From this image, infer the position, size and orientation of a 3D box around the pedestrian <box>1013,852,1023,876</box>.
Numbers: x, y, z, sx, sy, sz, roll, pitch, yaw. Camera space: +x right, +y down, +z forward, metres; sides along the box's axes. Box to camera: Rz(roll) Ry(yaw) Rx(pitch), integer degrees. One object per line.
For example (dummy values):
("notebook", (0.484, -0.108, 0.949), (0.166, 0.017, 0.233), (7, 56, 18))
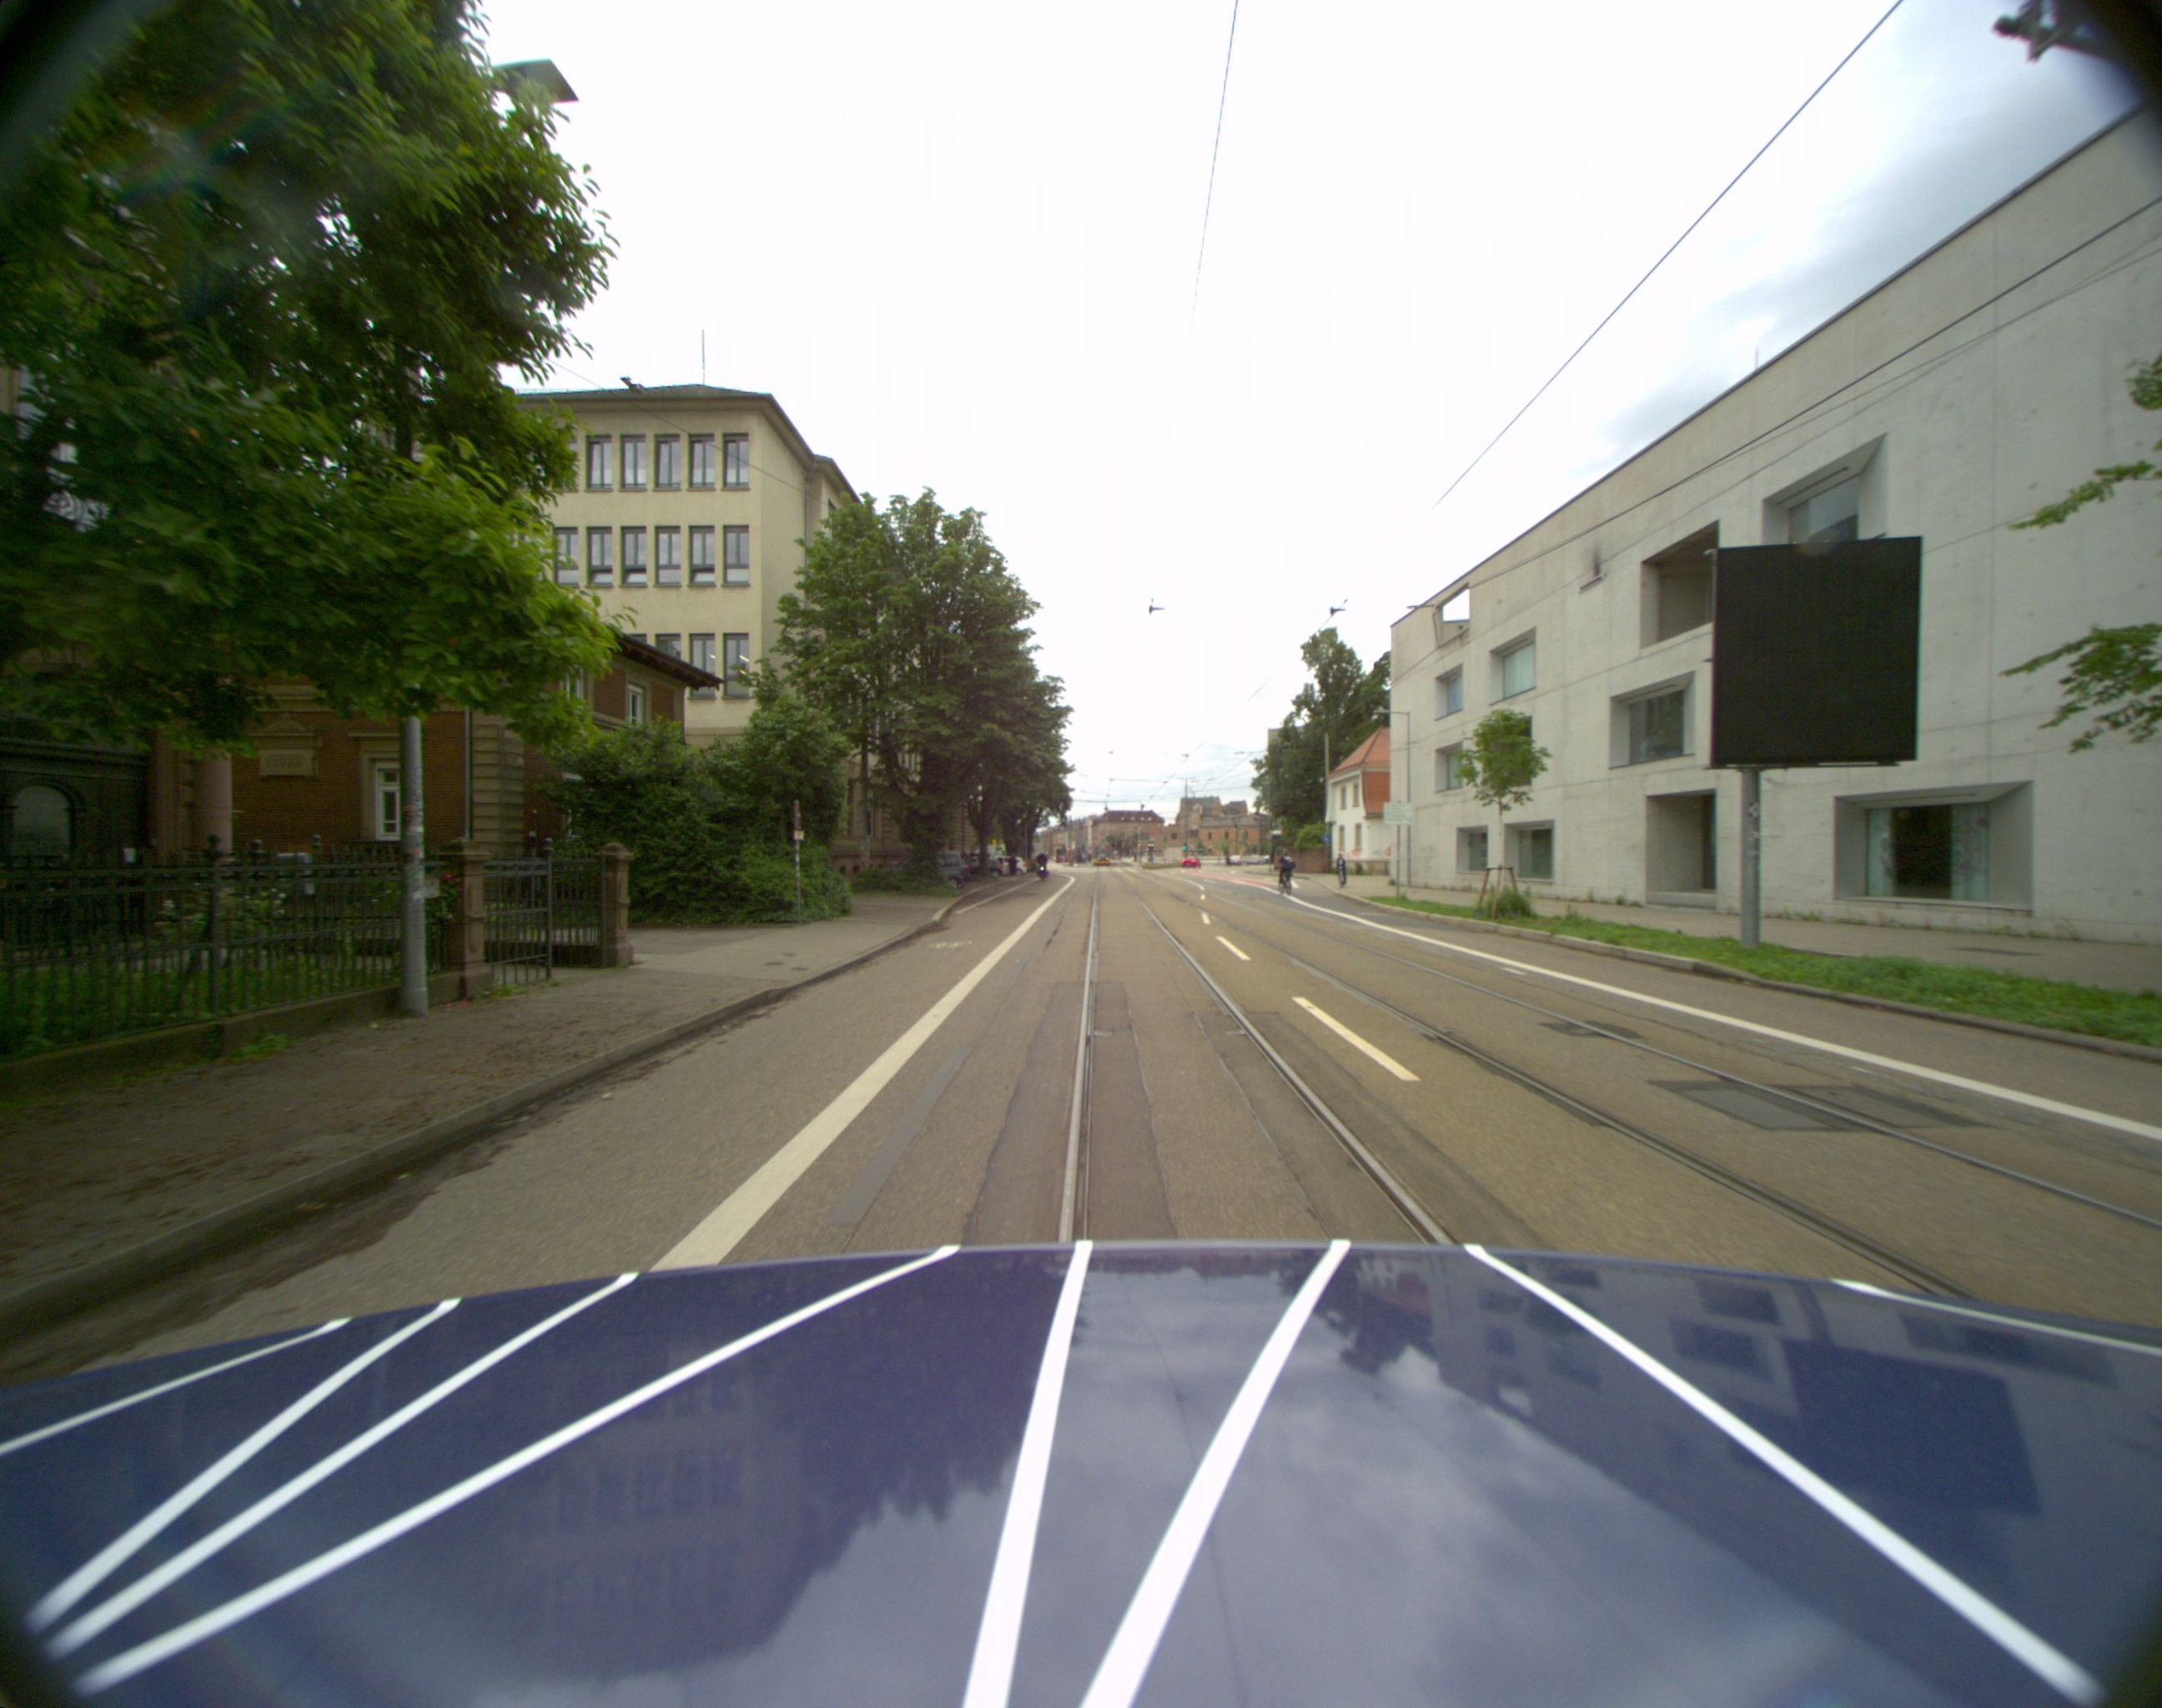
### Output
("pedestrian", (-4.785, 0.758, 57.562), (0.614, 1.740, 0.685), (-1, 1, -13))

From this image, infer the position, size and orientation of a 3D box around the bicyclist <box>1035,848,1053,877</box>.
("bicyclist", (-2.317, 0.529, 47.772), (0.881, 1.811, 1.479), (-1, -1, 6))

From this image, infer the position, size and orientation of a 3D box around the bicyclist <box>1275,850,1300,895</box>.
("bicyclist", (8.526, 0.764, 31.345), (0.793, 1.773, 1.148), (3, 1, 9))

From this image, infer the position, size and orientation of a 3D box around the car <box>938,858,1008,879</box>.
("car", (-7.306, 0.950, 51.331), (4.338, 1.394, 1.750), (0, 0, -31))

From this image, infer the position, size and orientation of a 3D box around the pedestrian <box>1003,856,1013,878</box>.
("pedestrian", (-5.510, 0.965, 57.367), (0.645, 1.616, 0.591), (-1, 1, -22))

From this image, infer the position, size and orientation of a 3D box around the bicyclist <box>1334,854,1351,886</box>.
("bicyclist", (13.906, 0.837, 40.427), (0.775, 1.681, 0.869), (0, 0, 11))

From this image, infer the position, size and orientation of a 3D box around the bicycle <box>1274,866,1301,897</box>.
("bicycle", (8.520, 1.121, 31.431), (0.793, 1.179, 2.012), (3, 0, 9))

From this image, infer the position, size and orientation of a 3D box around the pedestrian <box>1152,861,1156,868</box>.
("pedestrian", (11.050, 1.518, 115.293), (0.544, 1.050, 0.638), (0, 1, 10))

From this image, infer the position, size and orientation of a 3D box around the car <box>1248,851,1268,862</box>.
("car", (27.685, 0.384, 118.659), (1.682, 1.641, 3.988), (0, 0, 36))

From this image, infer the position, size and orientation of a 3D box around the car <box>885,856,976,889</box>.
("car", (-7.378, 0.890, 37.344), (4.007, 1.530, 1.860), (0, 0, -33))

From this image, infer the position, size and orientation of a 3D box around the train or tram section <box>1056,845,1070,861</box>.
("train or tram section", (-3.586, -0.216, 150.886), (2.609, 2.936, 4.965), (0, 0, -1))

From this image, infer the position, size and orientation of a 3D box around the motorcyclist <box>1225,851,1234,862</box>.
("motorcyclist", (21.326, 0.371, 109.354), (1.074, 1.477, 1.253), (0, 0, 21))

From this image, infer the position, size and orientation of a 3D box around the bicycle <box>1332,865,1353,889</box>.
("bicycle", (13.896, 1.223, 40.423), (0.775, 1.205, 1.870), (0, 0, 11))

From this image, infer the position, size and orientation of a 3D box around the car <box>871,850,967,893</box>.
("car", (-7.316, 0.762, 34.358), (3.846, 1.810, 1.803), (0, 0, -30))

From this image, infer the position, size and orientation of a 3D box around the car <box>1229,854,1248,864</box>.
("car", (23.375, 0.716, 112.594), (1.490, 1.500, 3.477), (0, 1, 35))

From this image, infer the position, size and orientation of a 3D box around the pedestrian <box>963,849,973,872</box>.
("pedestrian", (-9.284, 0.532, 62.531), (0.680, 1.828, 0.751), (2, 1, 1))

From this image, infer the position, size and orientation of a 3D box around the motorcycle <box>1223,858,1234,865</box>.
("motorcycle", (21.199, 1.088, 108.968), (1.054, 1.063, 2.652), (0, 0, 22))

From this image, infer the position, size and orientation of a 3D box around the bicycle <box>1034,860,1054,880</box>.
("bicycle", (-2.313, 0.999, 47.667), (0.852, 1.234, 2.311), (-1, -1, 6))

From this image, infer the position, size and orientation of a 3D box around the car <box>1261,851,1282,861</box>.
("car", (30.964, 0.329, 123.297), (1.781, 1.601, 4.333), (0, 0, 36))

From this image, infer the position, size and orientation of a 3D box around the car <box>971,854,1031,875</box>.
("car", (-6.230, 0.784, 59.181), (4.330, 1.542, 1.747), (0, 0, -21))

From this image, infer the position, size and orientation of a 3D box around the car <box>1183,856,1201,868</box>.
("car", (14.454, 1.013, 98.821), (1.758, 1.490, 4.004), (1, 1, 15))

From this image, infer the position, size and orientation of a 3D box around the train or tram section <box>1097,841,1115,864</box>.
("train or tram section", (3.941, -0.222, 123.008), (2.631, 3.659, 5.985), (0, 0, -1))
